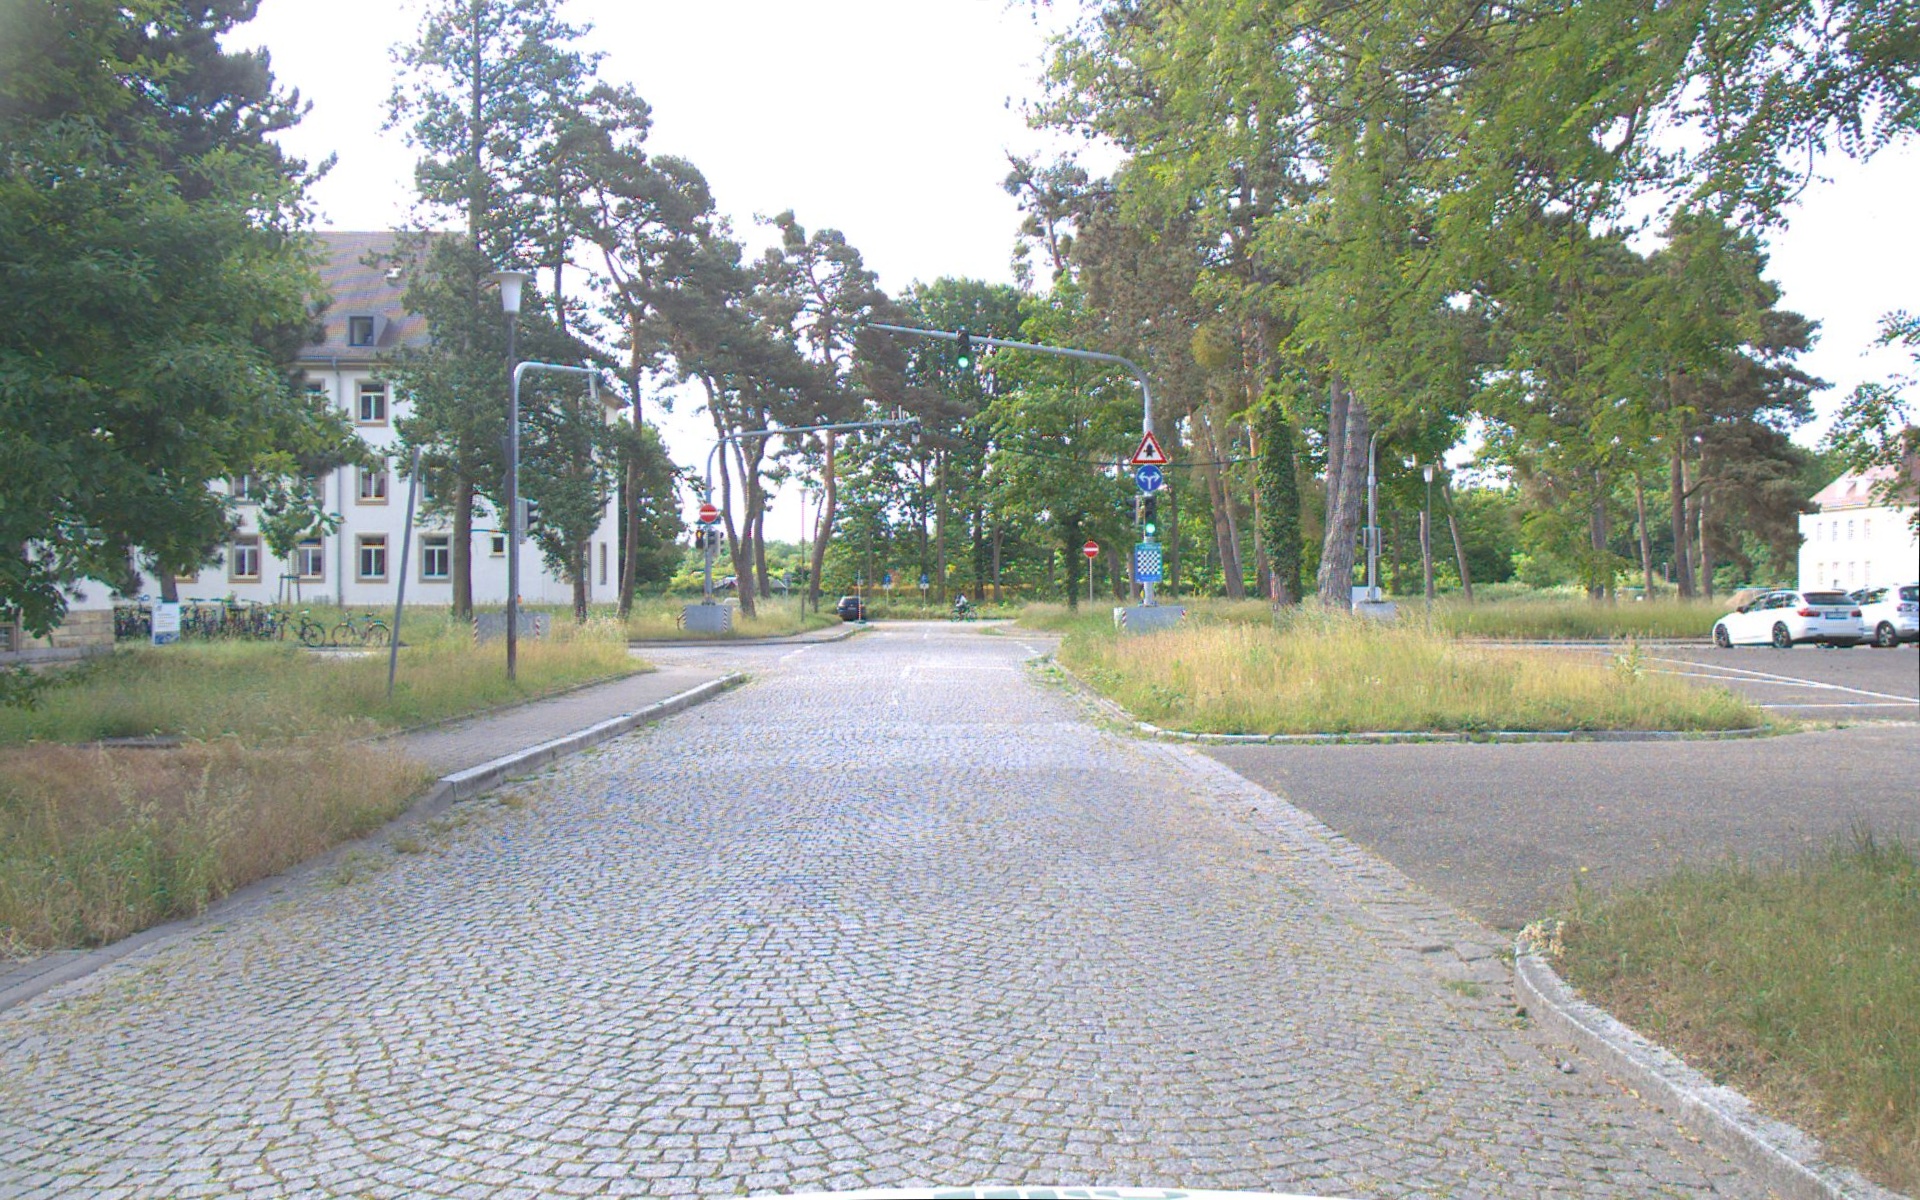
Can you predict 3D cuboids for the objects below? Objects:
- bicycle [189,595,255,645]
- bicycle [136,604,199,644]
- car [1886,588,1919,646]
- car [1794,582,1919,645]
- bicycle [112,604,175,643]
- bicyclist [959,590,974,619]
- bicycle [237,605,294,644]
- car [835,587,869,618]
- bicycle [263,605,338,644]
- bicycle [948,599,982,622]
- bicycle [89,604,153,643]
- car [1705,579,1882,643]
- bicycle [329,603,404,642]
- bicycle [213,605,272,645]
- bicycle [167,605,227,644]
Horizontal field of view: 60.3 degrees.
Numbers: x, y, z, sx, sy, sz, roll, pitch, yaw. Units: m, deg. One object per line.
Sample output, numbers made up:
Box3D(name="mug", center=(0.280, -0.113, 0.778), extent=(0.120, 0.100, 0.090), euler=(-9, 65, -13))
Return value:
Box3D(name="bicycle", center=(-21.526, 0.565, 48.330), extent=(0.721, 1.410, 2.711), euler=(0, 0, 0))
Box3D(name="bicycle", center=(-22.940, 0.678, 47.922), extent=(0.721, 1.095, 2.273), euler=(0, 0, 0))
Box3D(name="car", center=(25.810, 0.421, 41.928), extent=(1.954, 1.507, 4.421), euler=(0, -1, -4))
Box3D(name="car", center=(23.199, 0.364, 41.590), extent=(1.954, 1.507, 4.421), euler=(0, -1, -4))
Box3D(name="bicycle", center=(-23.660, 0.678, 47.981), extent=(0.721, 1.095, 2.273), euler=(0, 0, 0))
Box3D(name="bicyclist", center=(0.364, 0.283, 99.006), extent=(0.738, 1.700, 0.523), euler=(1, -1, -22))
Box3D(name="bicycle", center=(-20.163, 0.705, 48.078), extent=(0.721, 1.095, 2.273), euler=(0, 0, 0))
Box3D(name="car", center=(-6.787, 0.142, 104.428), extent=(2.014, 1.878, 3.999), euler=(0, 0, -2))
Box3D(name="bicycle", center=(-18.686, 0.694, 46.853), extent=(1.818, 1.095, 0.738), euler=(0, 0, 1))
Box3D(name="bicycle", center=(0.303, 0.614, 98.993), extent=(1.941, 1.343, 0.515), euler=(1, -1, -21))
Box3D(name="bicycle", center=(-24.358, 0.671, 48.047), extent=(0.721, 1.095, 2.273), euler=(0, 0, 0))
Box3D(name="car", center=(20.735, 0.312, 41.368), extent=(1.954, 1.507, 4.421), euler=(0, -1, -4))
Box3D(name="bicycle", center=(-16.836, 0.629, 46.923), extent=(1.818, 1.095, 0.831), euler=(0, 0, 1))
Box3D(name="bicycle", center=(-20.791, 0.714, 47.987), extent=(0.721, 1.095, 2.273), euler=(0, 0, 0))
Box3D(name="bicycle", center=(-22.314, 0.701, 48.426), extent=(0.721, 1.095, 2.273), euler=(0, 0, 0))
